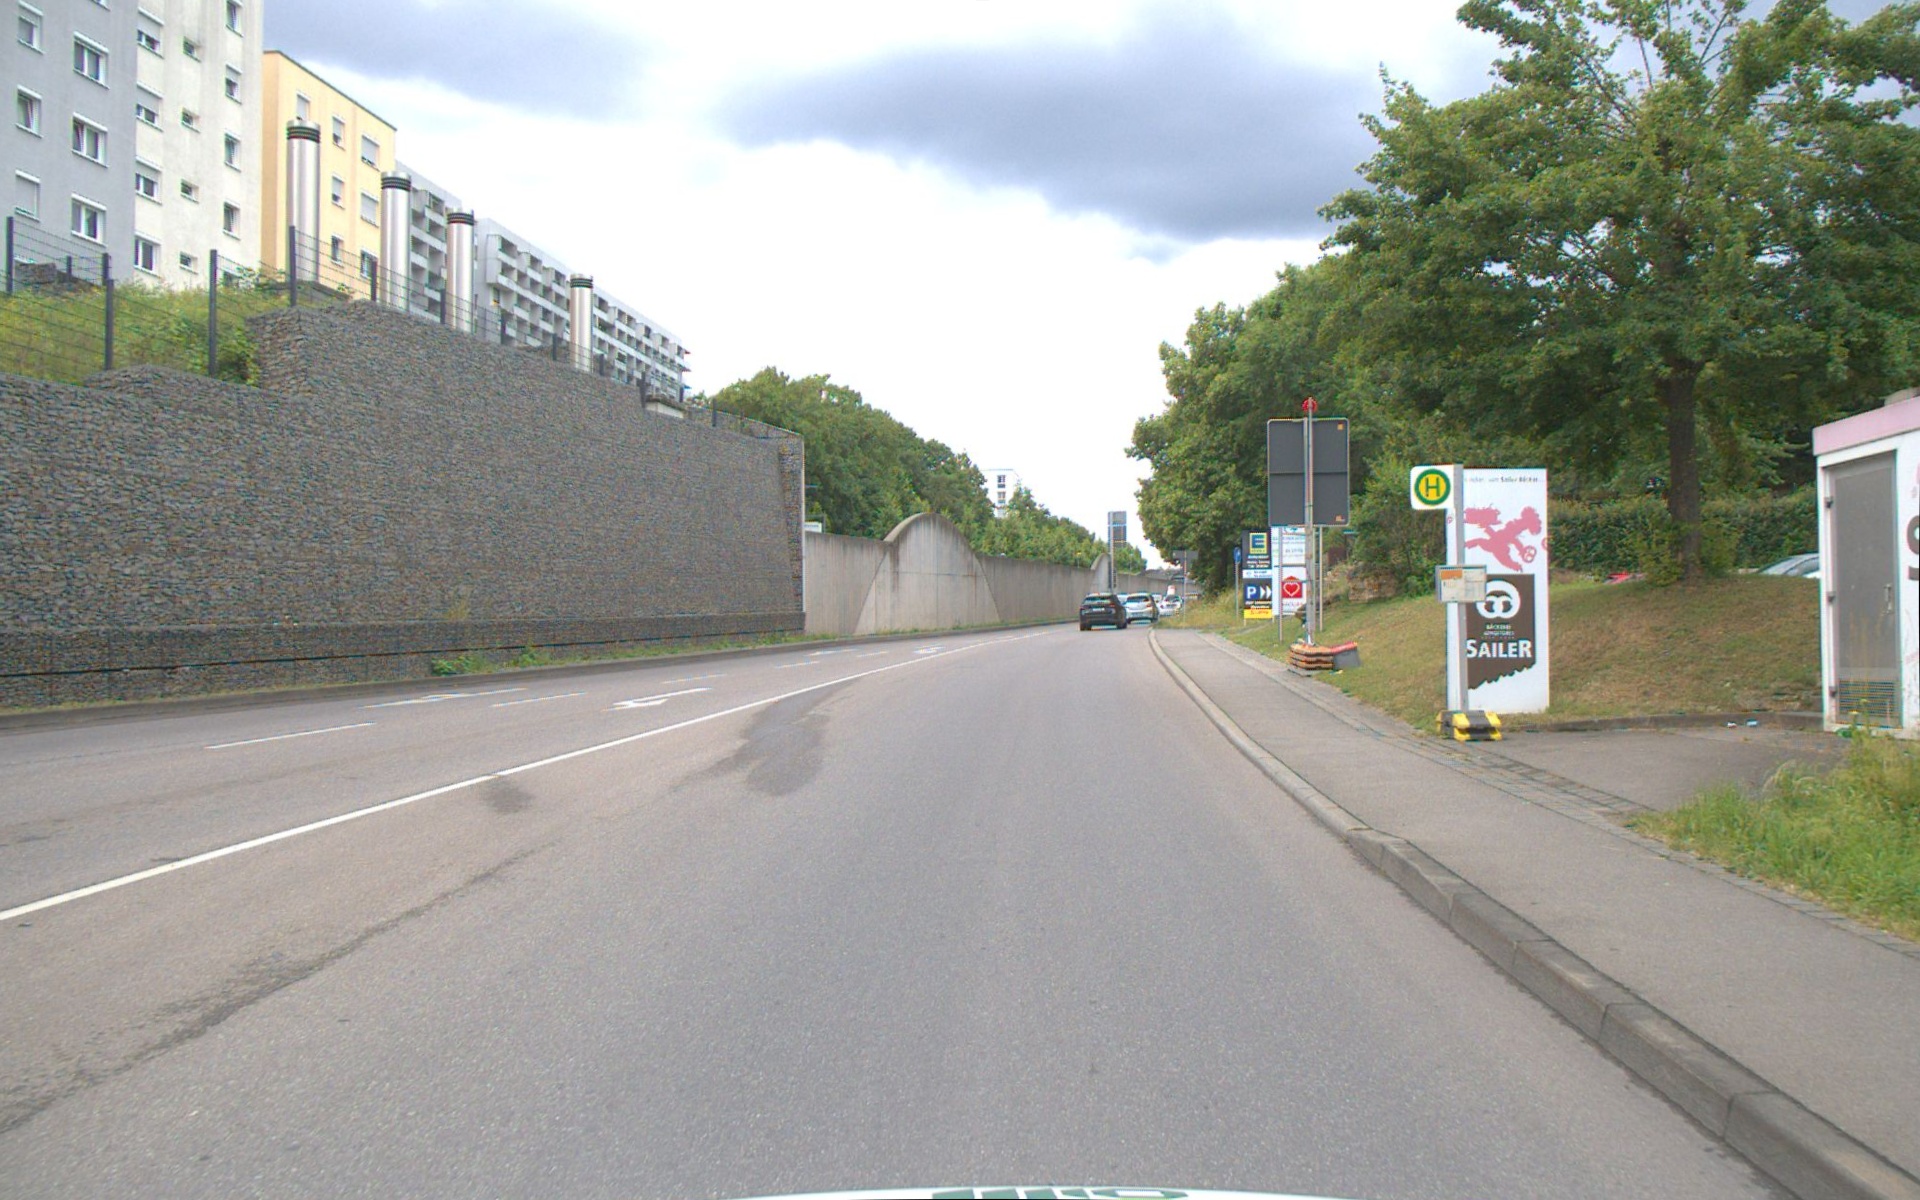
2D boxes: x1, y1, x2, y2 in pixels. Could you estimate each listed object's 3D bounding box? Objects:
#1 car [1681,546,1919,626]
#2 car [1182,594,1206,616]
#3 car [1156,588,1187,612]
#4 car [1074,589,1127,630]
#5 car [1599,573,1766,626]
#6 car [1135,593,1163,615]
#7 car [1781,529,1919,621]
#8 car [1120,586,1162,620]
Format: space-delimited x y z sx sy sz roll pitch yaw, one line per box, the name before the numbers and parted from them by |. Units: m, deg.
car | 16.284 -0.246 32.119 3.790 1.377 1.836 -2 -2 7
car | 18.794 0.421 132.563 1.717 1.560 4.257 1 -1 10
car | 14.096 0.006 110.265 1.827 1.516 4.260 1 0 10
car | 5.832 0.425 68.400 1.717 1.550 4.039 1 -1 11
car | 20.645 -0.016 47.425 4.150 1.475 1.761 0 0 14
car | 15.047 0.306 131.668 1.850 1.660 4.430 -2 0 11
car | 14.626 -0.380 24.705 3.789 1.254 1.871 -2 -2 8
car | 9.267 0.175 84.473 1.717 1.550 4.039 1 -1 12
